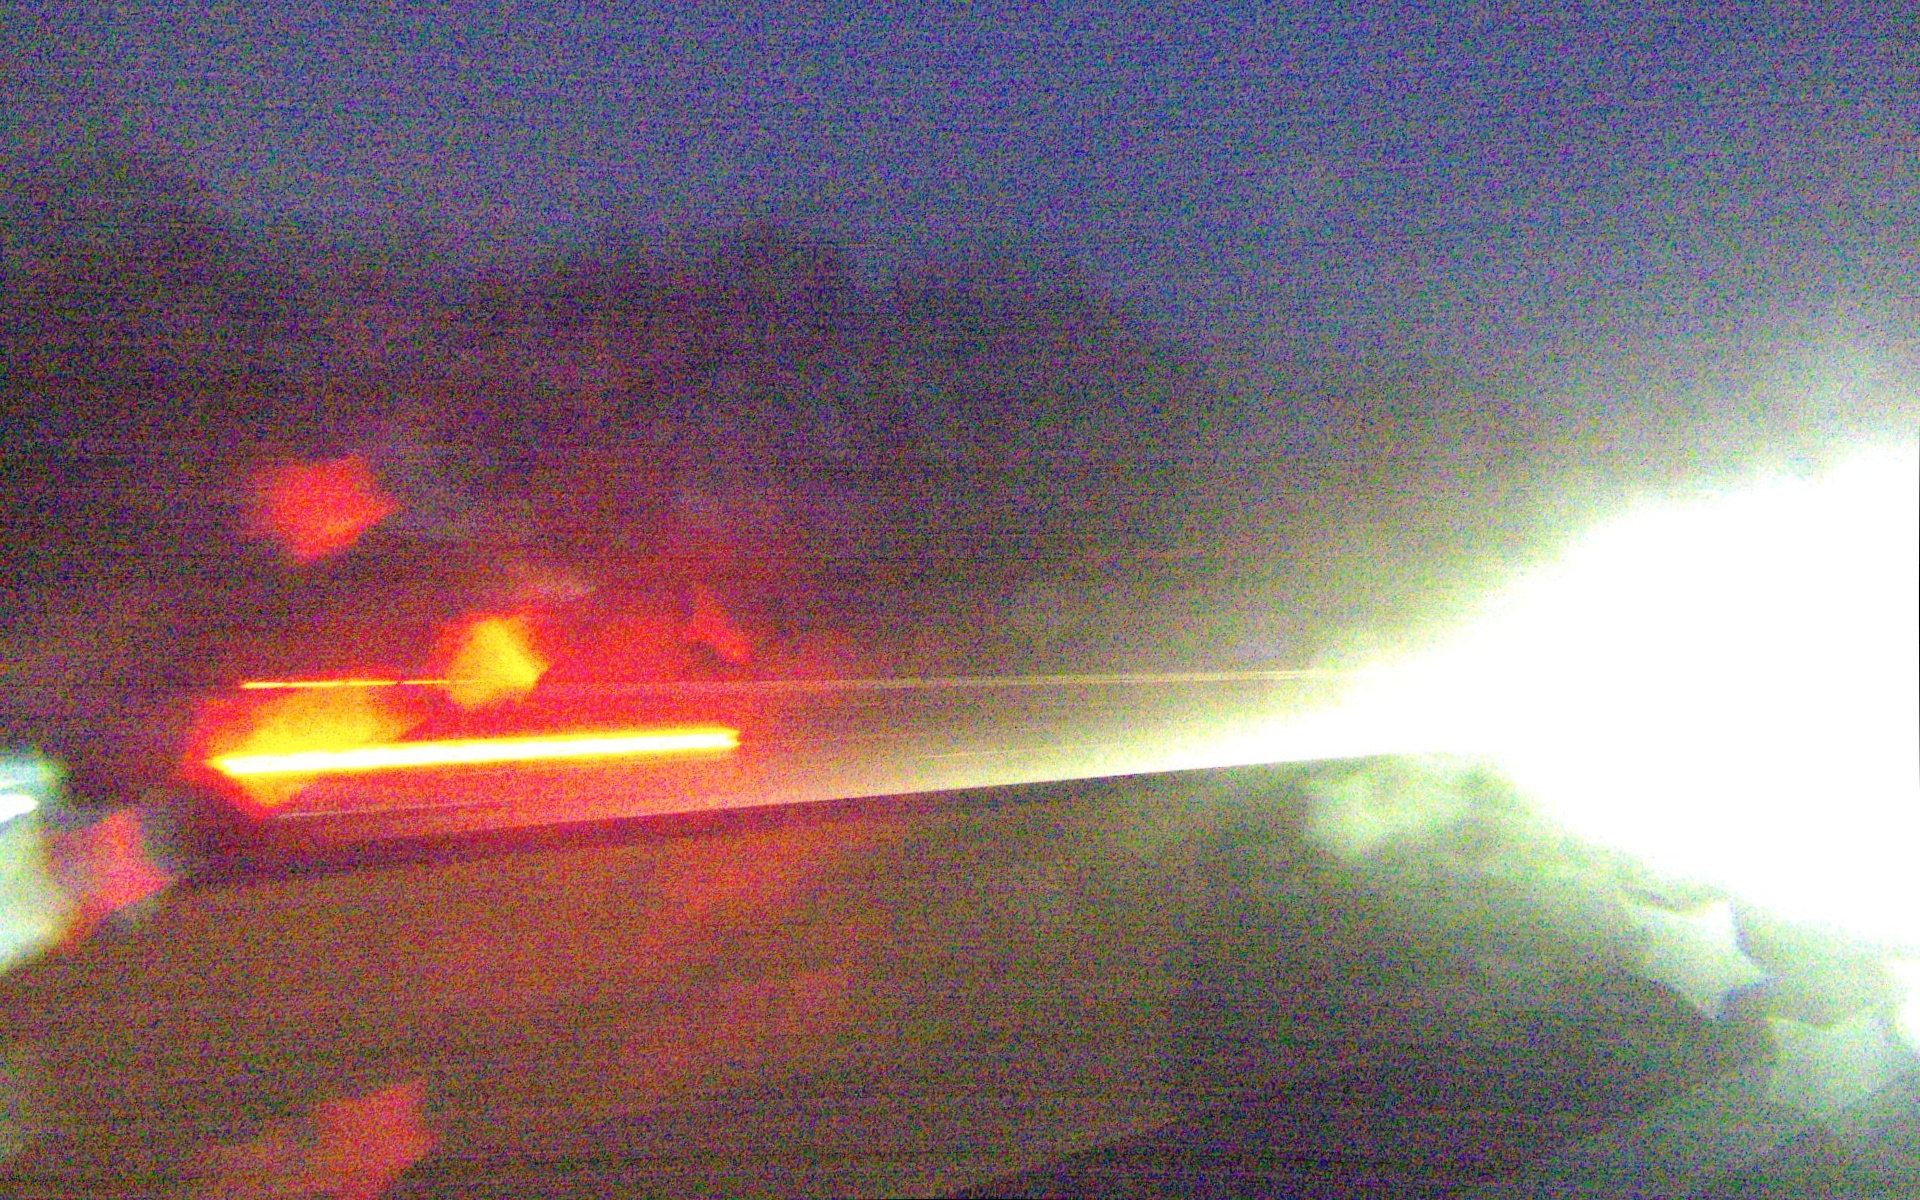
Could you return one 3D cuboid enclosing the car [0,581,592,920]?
[{"bbox_3d":[-4.789,0.814,6.212,4.453,1.706,1.908,2,-3,-30],"label":"car"}]

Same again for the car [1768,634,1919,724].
[{"bbox_3d":[19.132,1.619,21.080,4.453,1.706,1.908,2,-3,-30],"label":"car"}]

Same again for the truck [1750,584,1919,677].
[{"bbox_3d":[34.889,1.215,39.605,8.245,3.339,3.061,1,-2,-30],"label":"truck"}]
